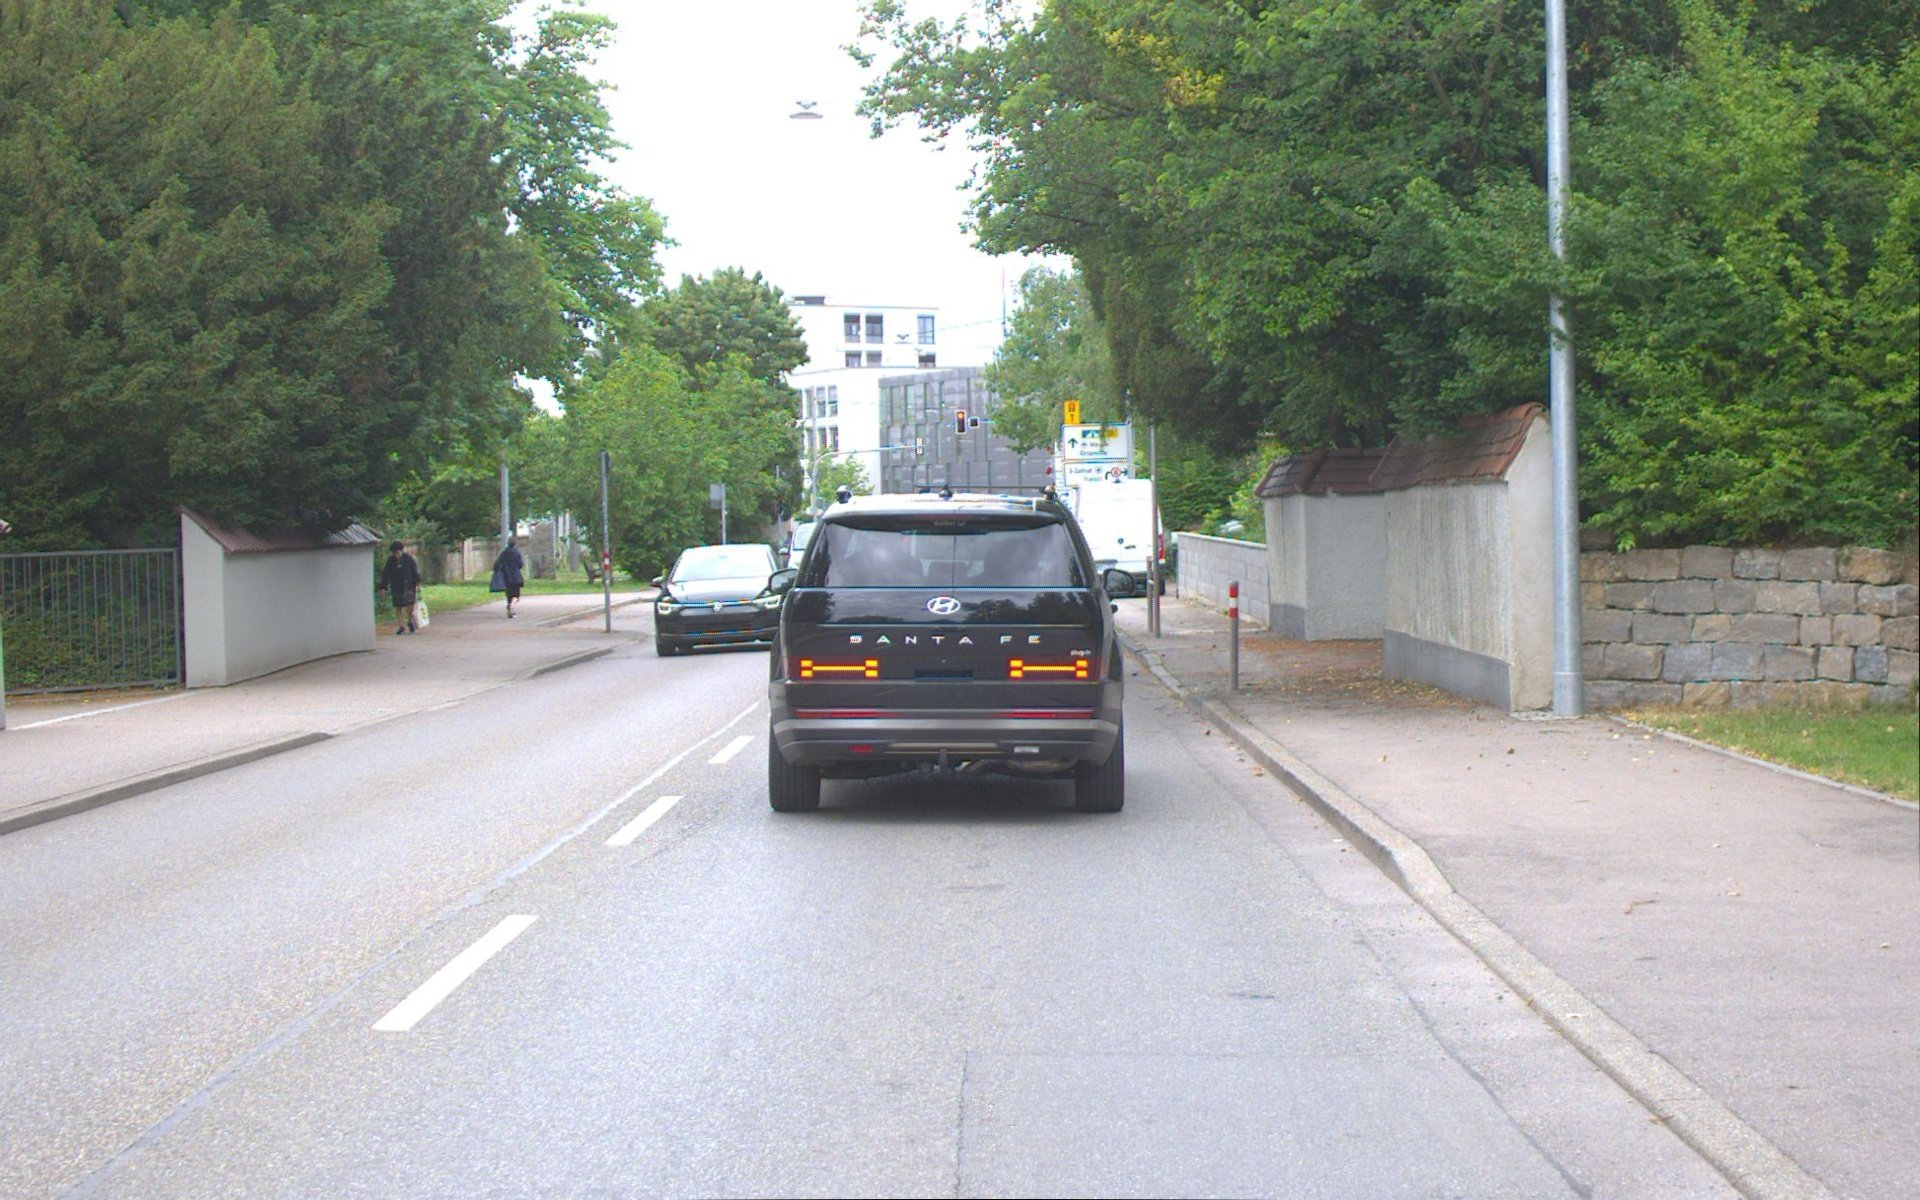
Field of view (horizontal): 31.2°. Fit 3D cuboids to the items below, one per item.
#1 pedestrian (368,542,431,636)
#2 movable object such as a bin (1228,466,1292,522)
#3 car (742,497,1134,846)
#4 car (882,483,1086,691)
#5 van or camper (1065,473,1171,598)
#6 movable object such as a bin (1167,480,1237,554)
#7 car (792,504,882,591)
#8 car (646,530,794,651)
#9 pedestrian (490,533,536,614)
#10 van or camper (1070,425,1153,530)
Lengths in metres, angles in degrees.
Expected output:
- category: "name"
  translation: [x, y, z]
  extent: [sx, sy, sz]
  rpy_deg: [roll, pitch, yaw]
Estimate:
- category: "pedestrian"
  translation: [-9.326, -0.186, 57.205]
  extent: [0.925, 1.555, 0.902]
  rpy_deg: [1, 1, -3]
- category: "movable object such as a bin"
  translation: [8.044, -2.857, 92.236]
  extent: [1.449, 1.468, 1.718]
  rpy_deg: [-1, 2, -4]
- category: "car"
  translation: [-0.081, 0.305, 19.368]
  extent: [1.963, 1.705, 4.000]
  rpy_deg: [-1, 2, 1]
- category: "car"
  translation: [0.238, -0.197, 36.165]
  extent: [1.963, 1.994, 4.000]
  rpy_deg: [-2, 2, 0]
- category: "van or camper"
  translation: [3.593, -1.550, 79.330]
  extent: [1.963, 2.618, 6.359]
  rpy_deg: [-4, 2, 0]
- category: "movable object such as a bin"
  translation: [4.951, -1.705, 70.419]
  extent: [1.299, 1.445, 1.181]
  rpy_deg: [-3, 2, 1]
- category: "car"
  translation: [-2.969, -1.305, 83.824]
  extent: [1.890, 1.849, 5.084]
  rpy_deg: [-5, 2, 0]
- category: "car"
  translation: [-3.222, -0.165, 46.840]
  extent: [1.785, 1.423, 4.001]
  rpy_deg: [-3, 2, -2]
- category: "pedestrian"
  translation: [-8.855, -0.539, 68.153]
  extent: [0.748, 1.572, 0.967]
  rpy_deg: [0, 2, 1]
- category: "van or camper"
  translation: [4.291, -3.511, 98.090]
  extent: [1.963, 2.787, 5.287]
  rpy_deg: [-4, 2, 0]
